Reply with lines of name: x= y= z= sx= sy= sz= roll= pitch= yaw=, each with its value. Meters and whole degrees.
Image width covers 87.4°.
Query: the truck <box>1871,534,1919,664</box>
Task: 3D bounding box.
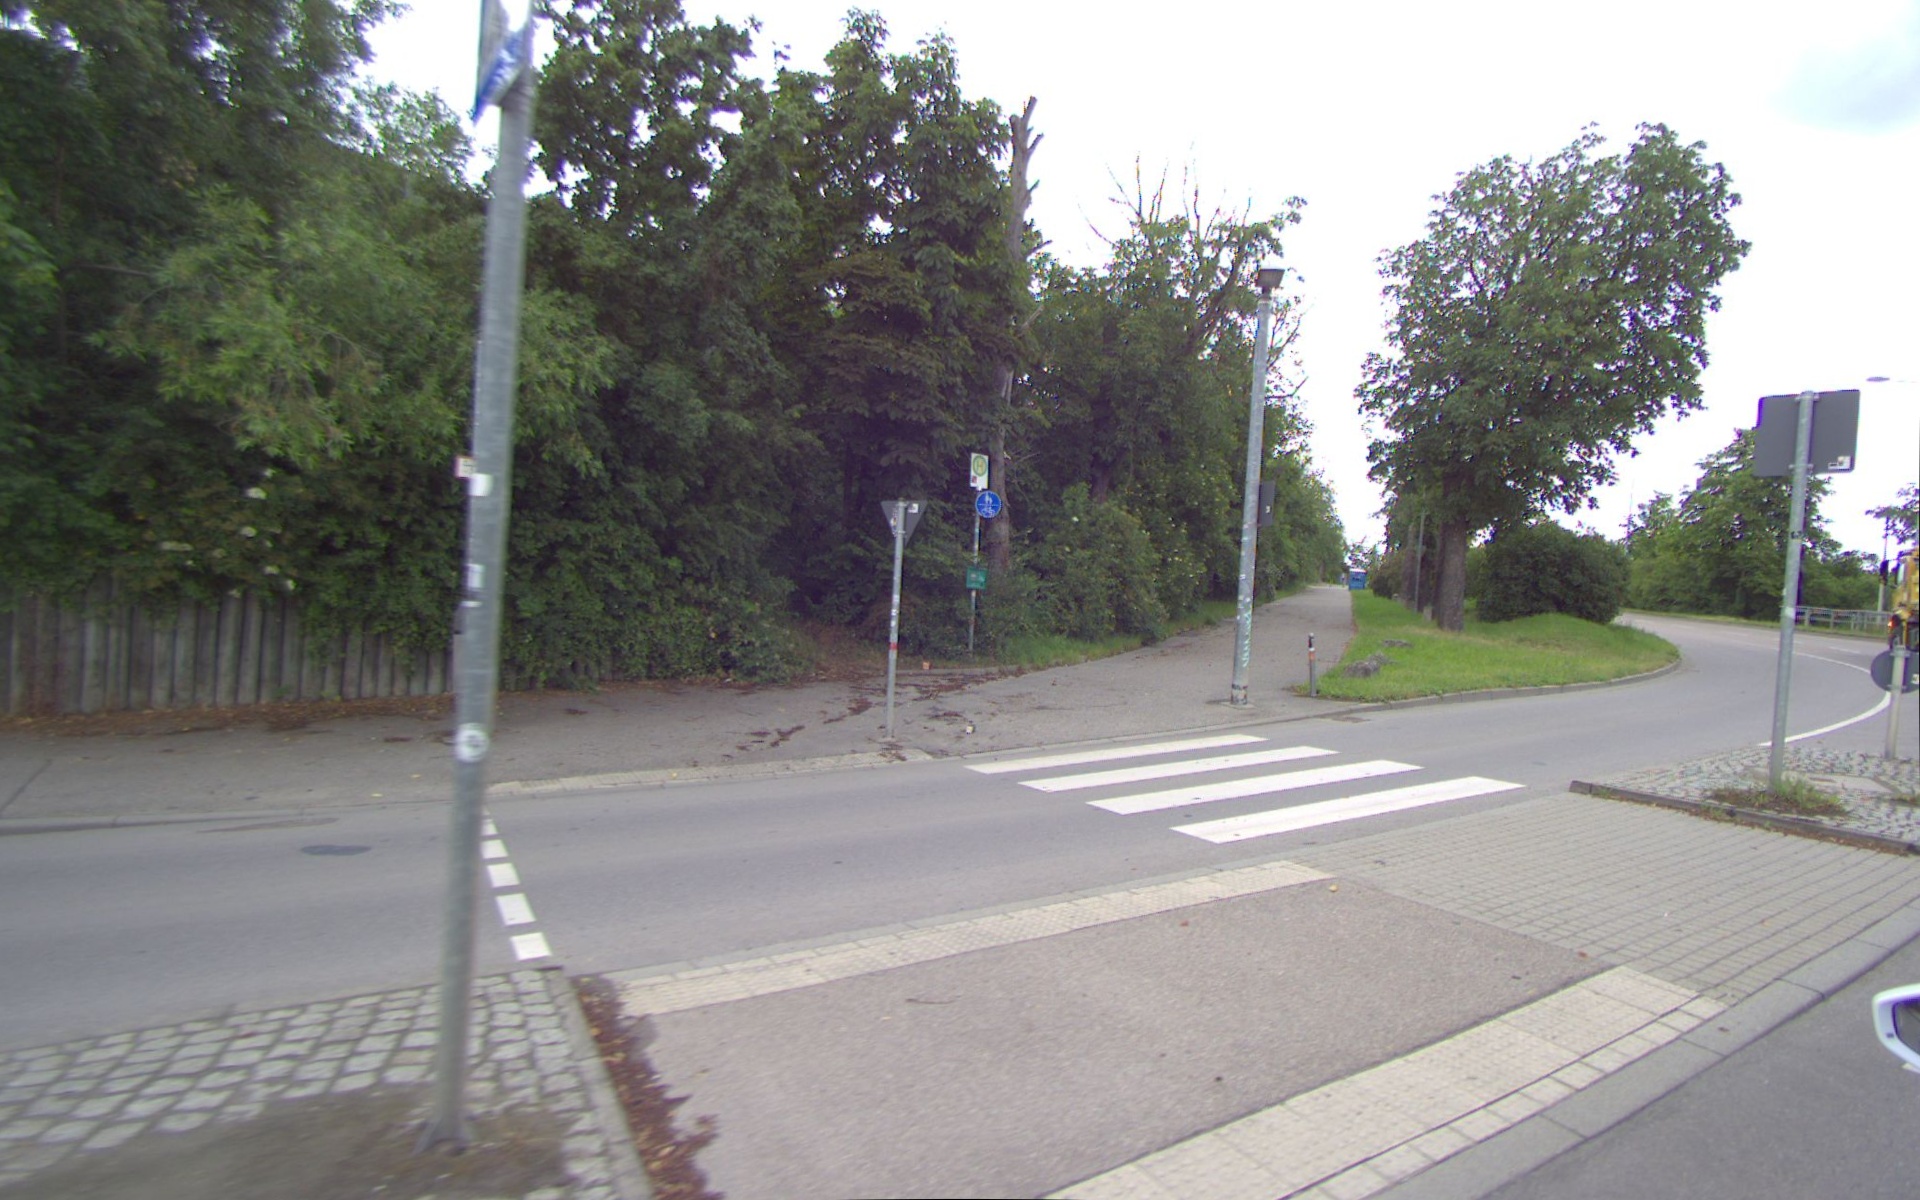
truck: x=27.448 y=0.000 z=26.946 sx=2.725 sy=3.531 sz=8.110 roll=3 pitch=2 yaw=31
